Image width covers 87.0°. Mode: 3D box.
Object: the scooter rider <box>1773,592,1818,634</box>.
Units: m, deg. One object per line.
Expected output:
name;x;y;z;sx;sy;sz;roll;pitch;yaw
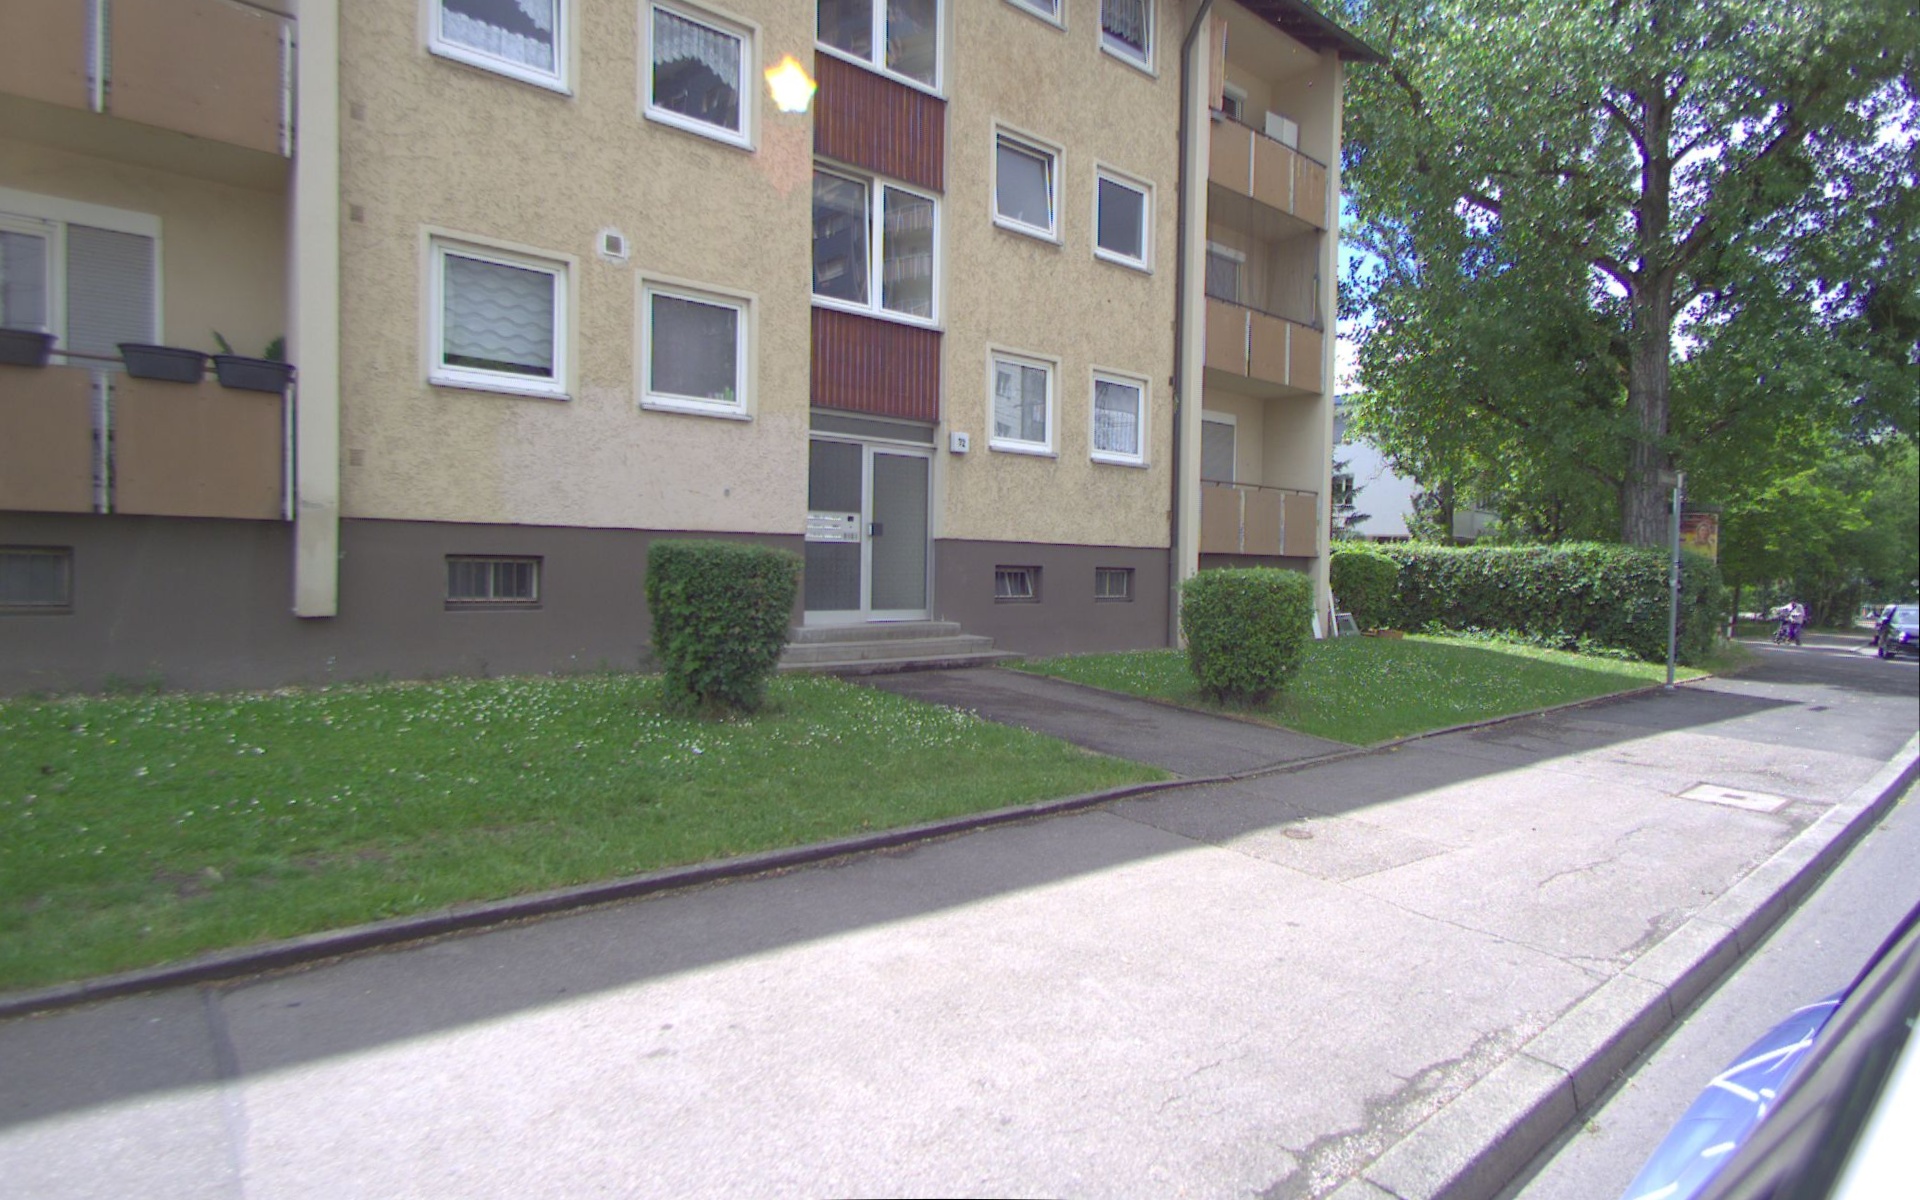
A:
scooter rider;25.923;0.407;31.398;1.260;1.235;0.886;2;2;-43

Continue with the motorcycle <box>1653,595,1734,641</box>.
motorcycle;21.709;0.524;30.004;1.784;1.225;0.705;4;2;28

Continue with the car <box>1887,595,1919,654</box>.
car;26.045;0.685;26.912;3.763;1.466;1.817;1;2;-44

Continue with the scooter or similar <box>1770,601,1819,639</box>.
scooter or similar;25.888;0.631;31.382;2.078;1.077;0.891;2;2;-43

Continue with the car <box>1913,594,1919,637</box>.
car;42.180;0.717;43.339;4.492;1.784;1.646;1;2;-43

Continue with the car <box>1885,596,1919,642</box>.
car;35.411;0.716;37.272;1.785;1.584;4.496;4;2;44
